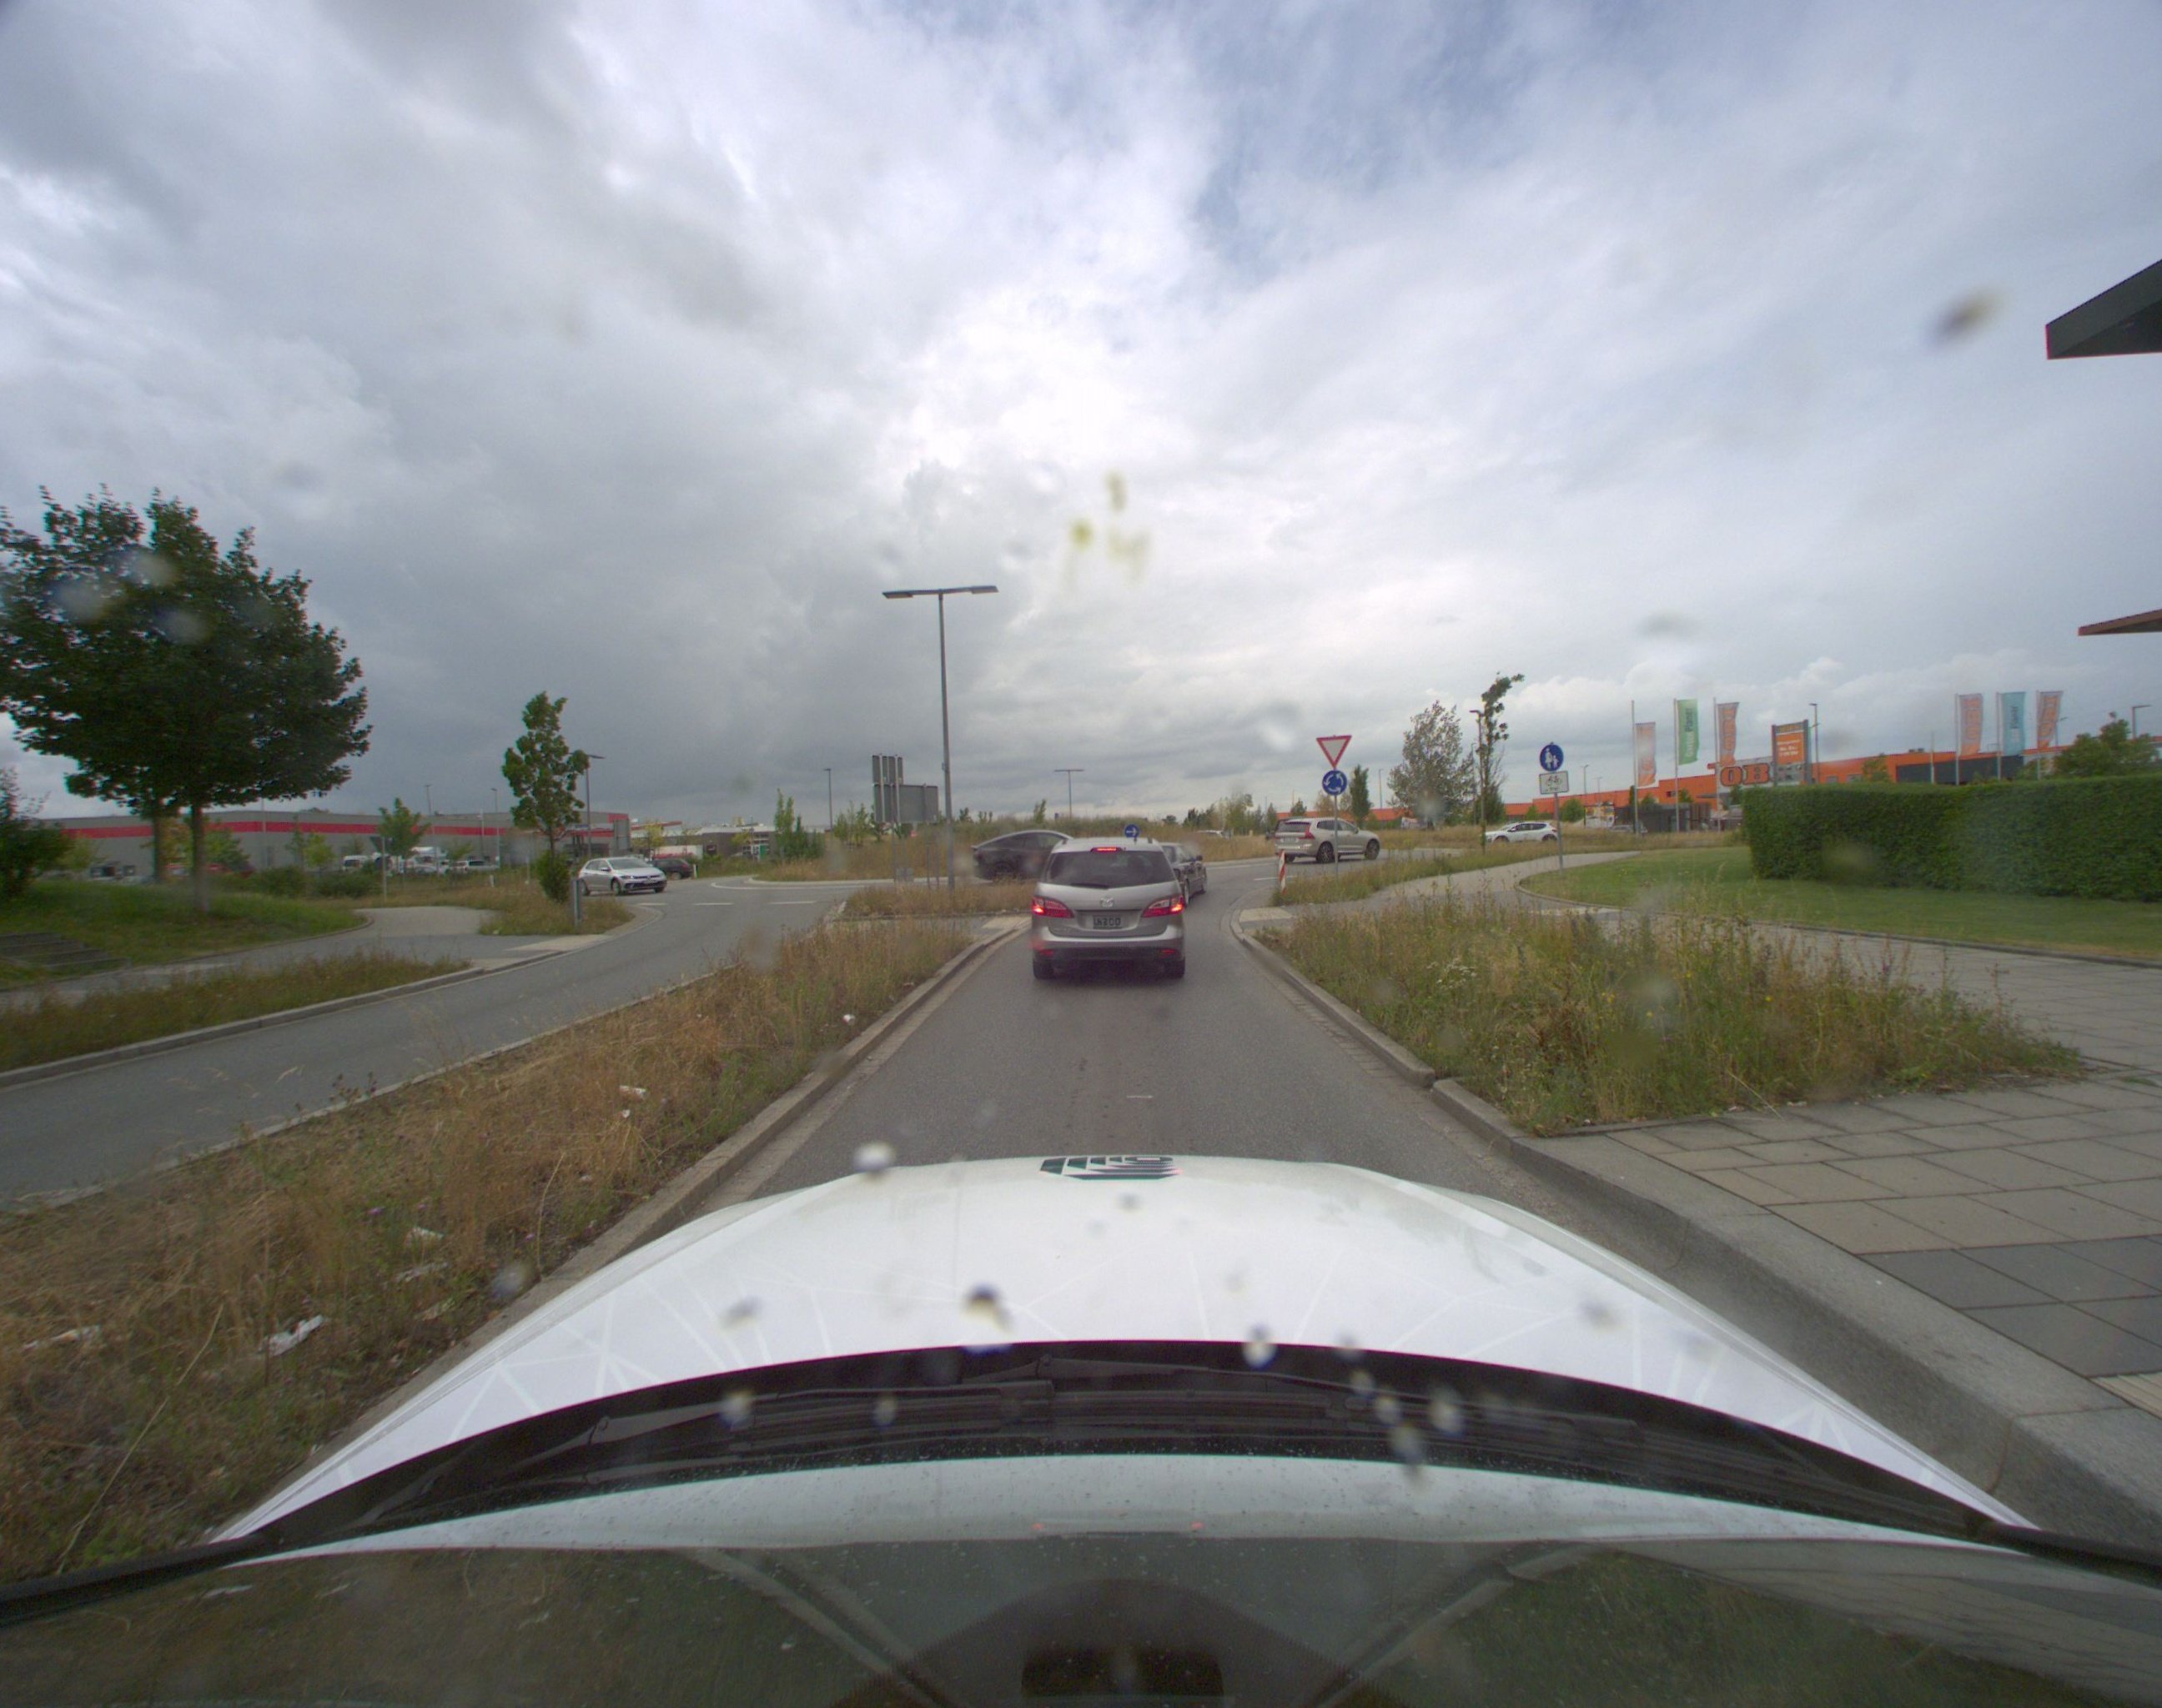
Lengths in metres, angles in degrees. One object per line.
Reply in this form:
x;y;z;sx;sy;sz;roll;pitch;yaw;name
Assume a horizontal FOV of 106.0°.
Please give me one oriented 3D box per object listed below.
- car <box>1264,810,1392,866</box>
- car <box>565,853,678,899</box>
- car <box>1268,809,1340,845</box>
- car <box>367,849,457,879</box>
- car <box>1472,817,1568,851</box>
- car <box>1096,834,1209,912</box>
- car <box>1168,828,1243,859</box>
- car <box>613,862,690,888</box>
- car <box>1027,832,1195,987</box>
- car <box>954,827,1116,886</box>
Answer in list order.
9.266;-0.633;30.395;4.795;1.738;1.924;-5;3;-34;car
-17.524;0.839;31.031;3.949;1.464;1.825;-3;2;28;car
13.006;-1.610;47.771;2.079;1.886;4.755;-4;3;-12;car
-65.760;0.954;80.305;2.455;2.820;7.688;-1;-1;0;car
24.474;-1.126;45.550;4.306;1.648;1.873;-3;2;4;car
1.729;0.336;18.264;1.724;1.403;4.016;0;3;17;car
8.427;-0.691;55.447;2.096;1.886;4.718;-5;3;-41;car
-24.901;1.201;47.360;3.855;1.325;1.458;-2;0;-25;car
0.378;0.528;10.465;1.731;1.598;4.000;-1;1;2;car
-1.414;0.028;25.369;4.750;1.498;1.942;-3;2;-4;car
